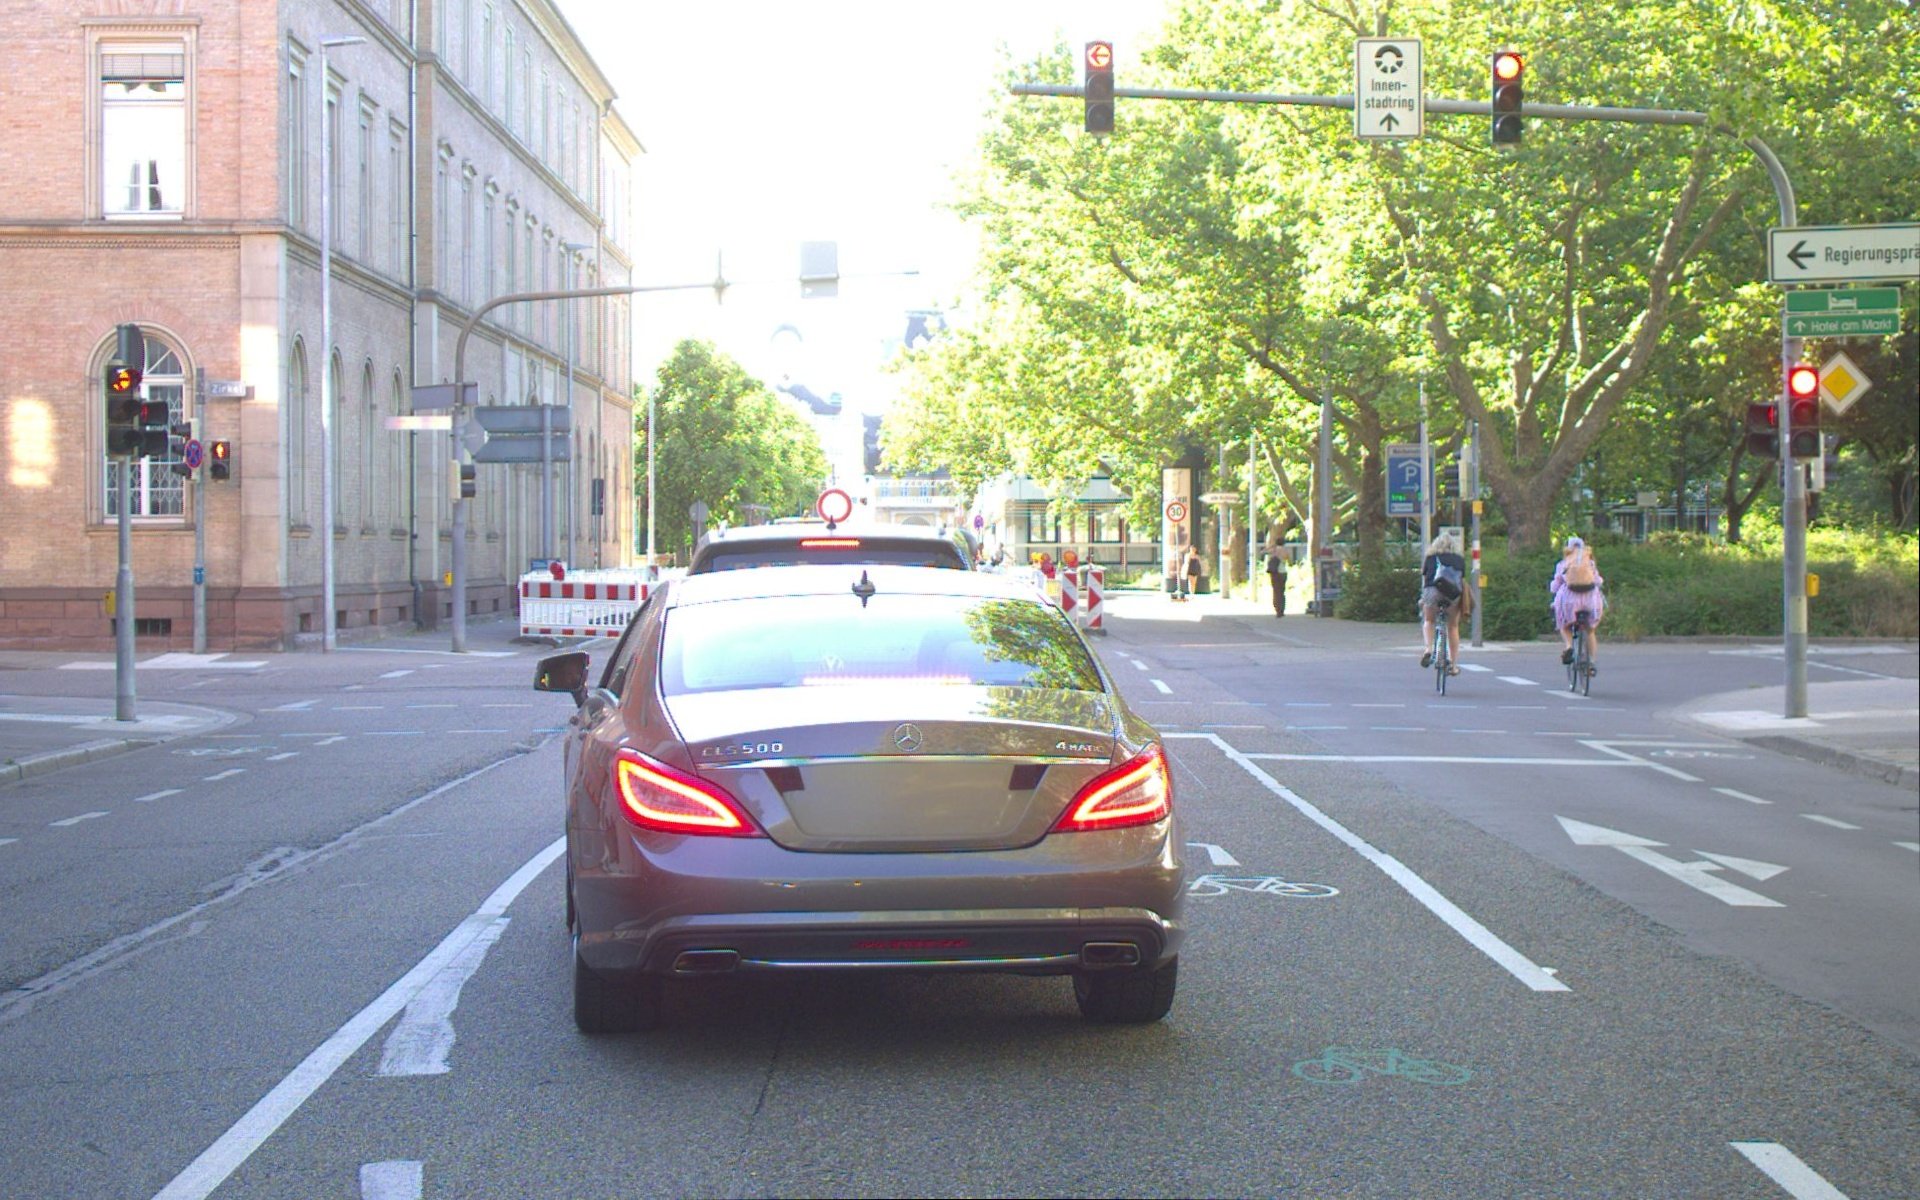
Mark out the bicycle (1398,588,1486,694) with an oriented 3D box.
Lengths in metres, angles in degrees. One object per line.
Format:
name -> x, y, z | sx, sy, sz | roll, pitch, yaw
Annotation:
bicycle -> 4.948, 0.405, 35.380 | 0.610, 1.023, 1.731 | 2, 1, -1

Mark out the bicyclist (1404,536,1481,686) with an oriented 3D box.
bicyclist -> 4.960, 0.107, 35.382 | 0.610, 1.511, 0.890 | 2, 1, -1

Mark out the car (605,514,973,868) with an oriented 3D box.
car -> -0.844, 0.388, 17.674 | 1.681, 1.619, 3.841 | 0, 1, -2

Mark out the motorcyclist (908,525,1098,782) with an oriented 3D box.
motorcyclist -> 0.259, 0.324, 22.177 | 1.113, 1.607, 1.202 | 0, 1, -5

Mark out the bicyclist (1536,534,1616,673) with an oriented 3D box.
bicyclist -> 6.352, 0.031, 35.472 | 0.600, 1.397, 0.931 | 2, 1, -1

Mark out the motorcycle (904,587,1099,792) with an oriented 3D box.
motorcycle -> 0.232, 0.536, 22.200 | 1.007, 1.200, 2.665 | 0, 1, -5

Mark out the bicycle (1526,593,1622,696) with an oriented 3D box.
bicycle -> 6.336, 0.447, 35.536 | 0.600, 0.981, 1.881 | 2, 1, -1

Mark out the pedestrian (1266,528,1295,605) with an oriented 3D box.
pedestrian -> 6.992, -0.730, 75.030 | 0.559, 1.672, 0.565 | 0, 1, -1

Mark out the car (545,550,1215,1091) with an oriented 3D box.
car -> -0.471, 0.569, 11.629 | 1.821, 1.471, 4.354 | 0, 1, -7
